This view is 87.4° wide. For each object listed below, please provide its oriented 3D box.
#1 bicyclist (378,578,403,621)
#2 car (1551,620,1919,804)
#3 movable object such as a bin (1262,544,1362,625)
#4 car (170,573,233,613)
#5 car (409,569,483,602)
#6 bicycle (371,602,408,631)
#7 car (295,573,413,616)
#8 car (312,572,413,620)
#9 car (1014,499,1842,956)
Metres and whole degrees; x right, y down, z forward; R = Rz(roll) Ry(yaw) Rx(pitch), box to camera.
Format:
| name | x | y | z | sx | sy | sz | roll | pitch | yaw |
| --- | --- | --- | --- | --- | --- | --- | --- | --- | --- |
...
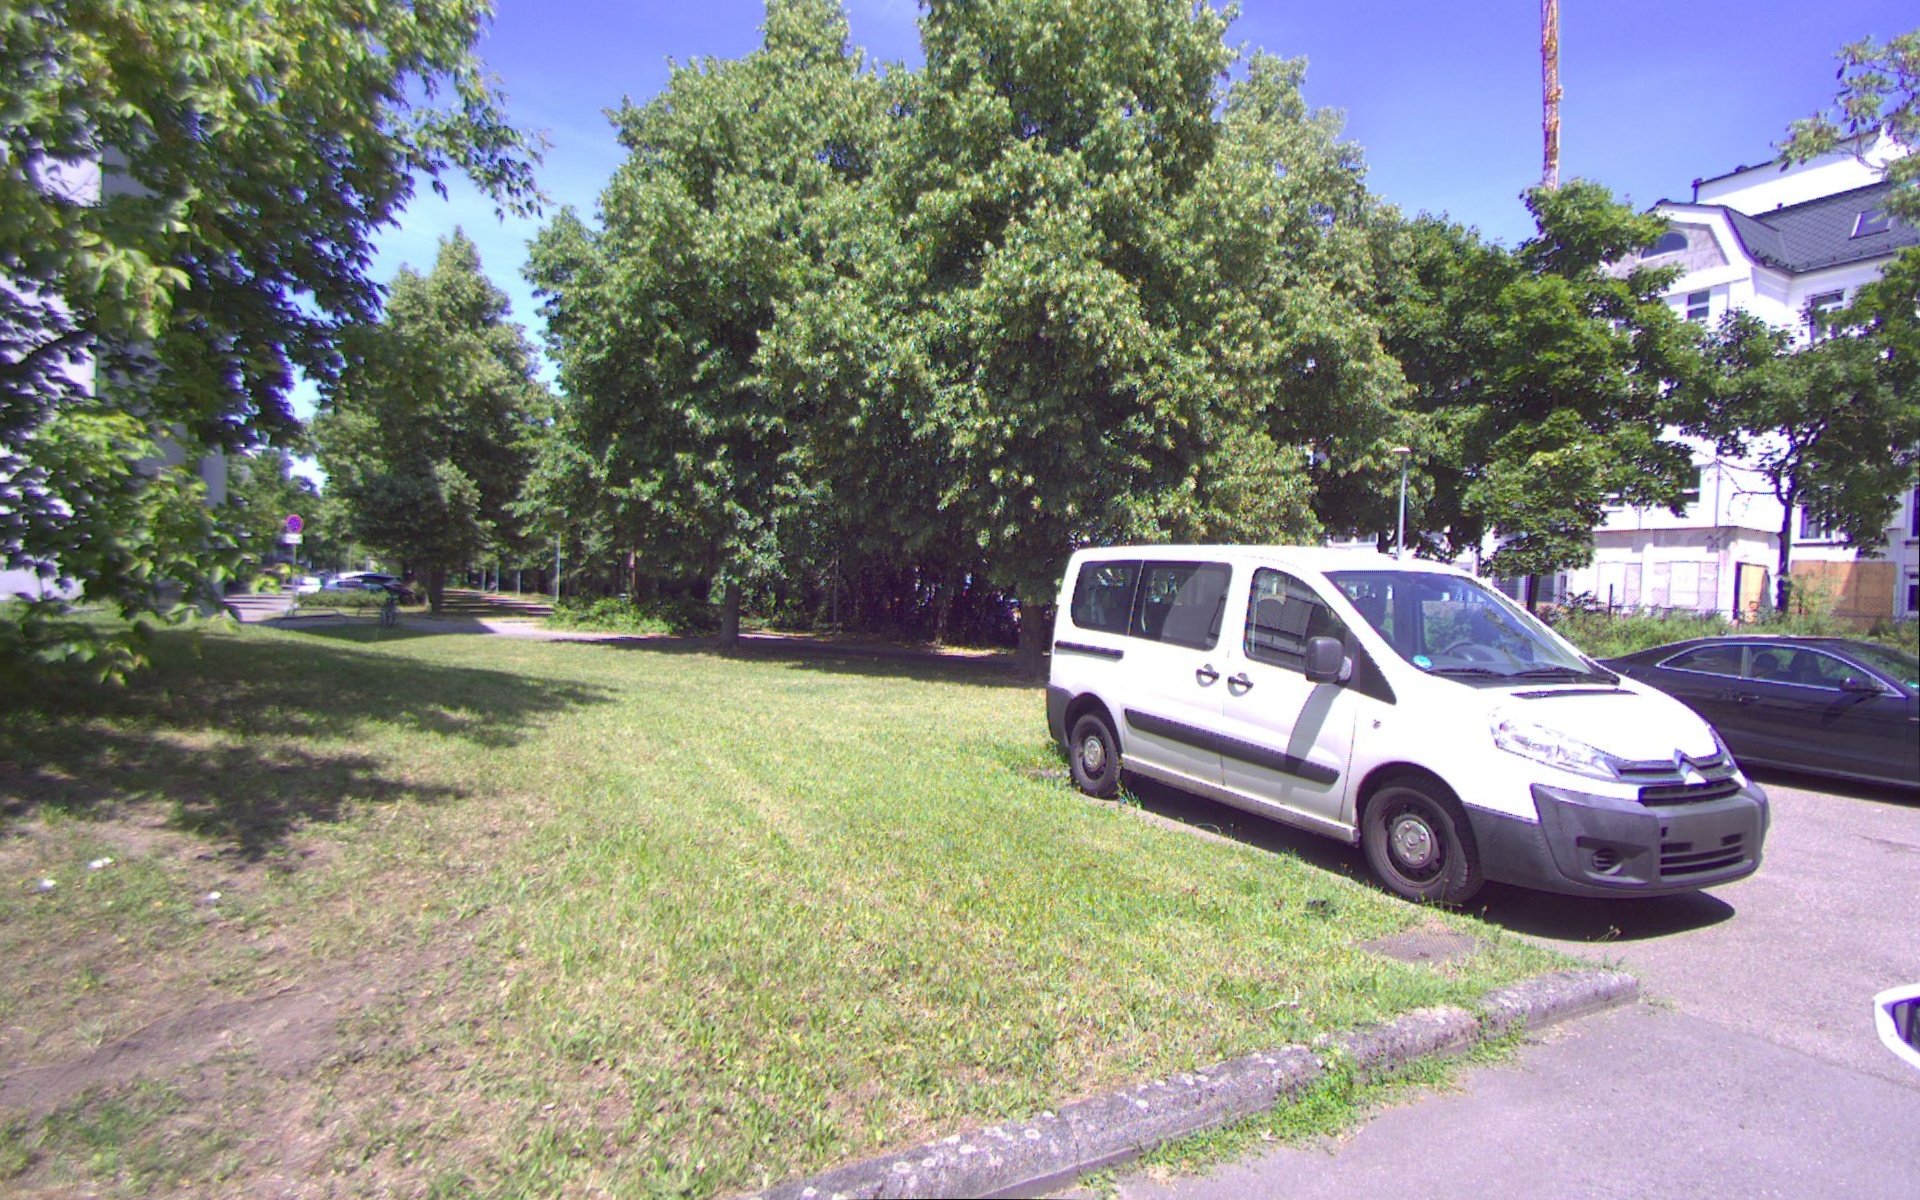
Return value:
| name | x | y | z | sx | sy | sz | roll | pitch | yaw |
| --- | --- | --- | --- | --- | --- | --- | --- | --- | --- |
| bicyclist | -14.150 | -0.006 | 24.953 | 0.511 | 1.059 | 0.518 | 0 | 1 | -27 |
| car | 8.353 | 1.004 | 9.450 | 1.998 | 1.398 | 4.413 | 3 | 0 | -27 |
| movable object such as a bin | 20.583 | -0.895 | 59.113 | 1.973 | 4.430 | 5.687 | 3 | 0 | -25 |
| car | -34.216 | -0.321 | 45.292 | 1.796 | 1.624 | 3.843 | 3 | 0 | -44 |
| car | -32.219 | -0.908 | 63.031 | 3.956 | 1.790 | 1.815 | 3 | 0 | -32 |
| bicycle | -14.150 | 0.392 | 24.939 | 0.725 | 0.650 | 1.604 | 0 | 1 | -28 |
| car | -26.596 | -0.246 | 44.204 | 4.293 | 1.631 | 1.917 | 3 | 0 | -32 |
| car | -28.257 | -0.163 | 47.576 | 3.956 | 2.040 | 1.983 | 3 | 0 | -32 |
| car | 2.484 | 0.539 | 6.825 | 2.041 | 1.908 | 4.830 | 3 | 0 | -27 |
